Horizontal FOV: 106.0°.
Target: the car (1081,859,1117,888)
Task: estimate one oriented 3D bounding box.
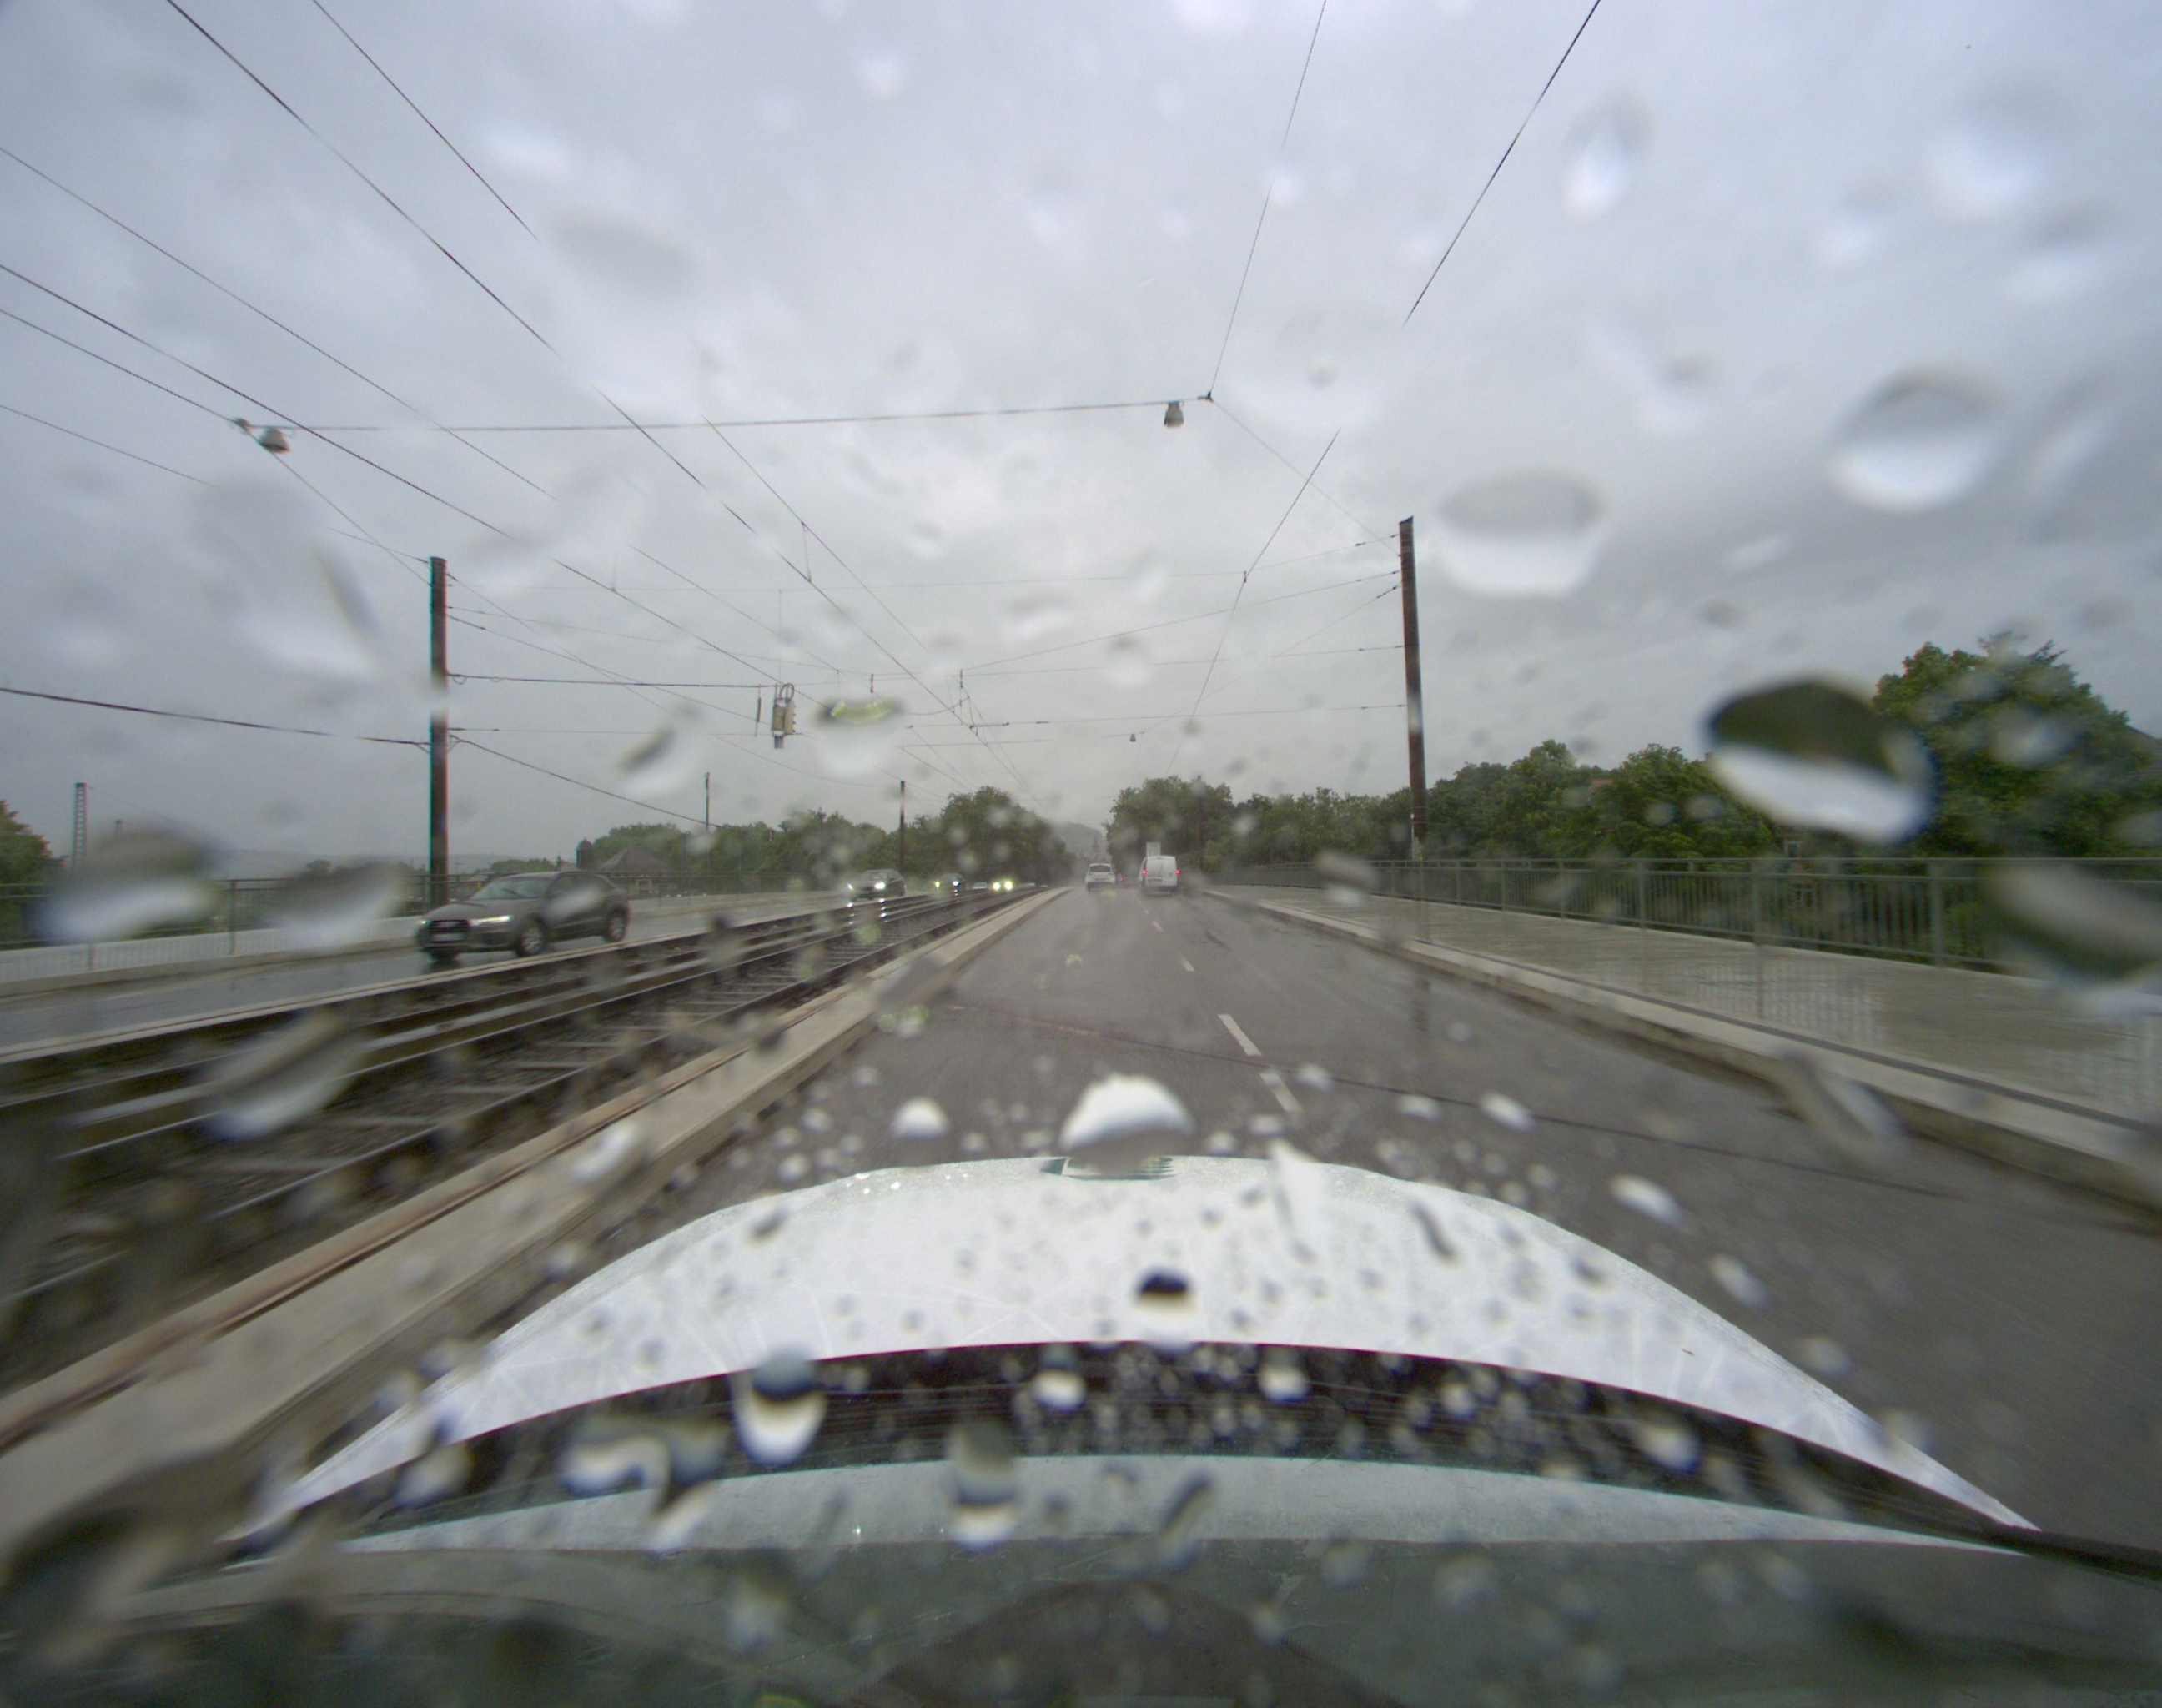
[{"bbox_3d":[1.158,1.226,50.539,1.985,1.717,4.003,0,-2,4],"label":"car"}]

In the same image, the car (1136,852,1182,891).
[{"bbox_3d":[3.567,0.836,37.772,1.985,1.726,4.003,0,-2,4],"label":"car"}]

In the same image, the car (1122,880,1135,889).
[{"bbox_3d":[7.502,4.737,127.569,1.985,1.321,4.003,0,-2,4],"label":"car"}]

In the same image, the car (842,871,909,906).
[{"bbox_3d":[-10.010,1.672,40.058,1.988,1.509,5.111,-3,-2,-1],"label":"car"}]

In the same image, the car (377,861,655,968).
[{"bbox_3d":[-10.949,1.108,16.372,1.986,1.717,4.942,-3,-2,1],"label":"car"}]

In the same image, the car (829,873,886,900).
[{"bbox_3d":[-13.361,1.938,48.985,1.987,1.456,4.620,-3,-2,1],"label":"car"}]

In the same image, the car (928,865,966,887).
[{"bbox_3d":[-9.834,1.647,60.064,1.987,1.509,4.092,-3,-2,1],"label":"car"}]
